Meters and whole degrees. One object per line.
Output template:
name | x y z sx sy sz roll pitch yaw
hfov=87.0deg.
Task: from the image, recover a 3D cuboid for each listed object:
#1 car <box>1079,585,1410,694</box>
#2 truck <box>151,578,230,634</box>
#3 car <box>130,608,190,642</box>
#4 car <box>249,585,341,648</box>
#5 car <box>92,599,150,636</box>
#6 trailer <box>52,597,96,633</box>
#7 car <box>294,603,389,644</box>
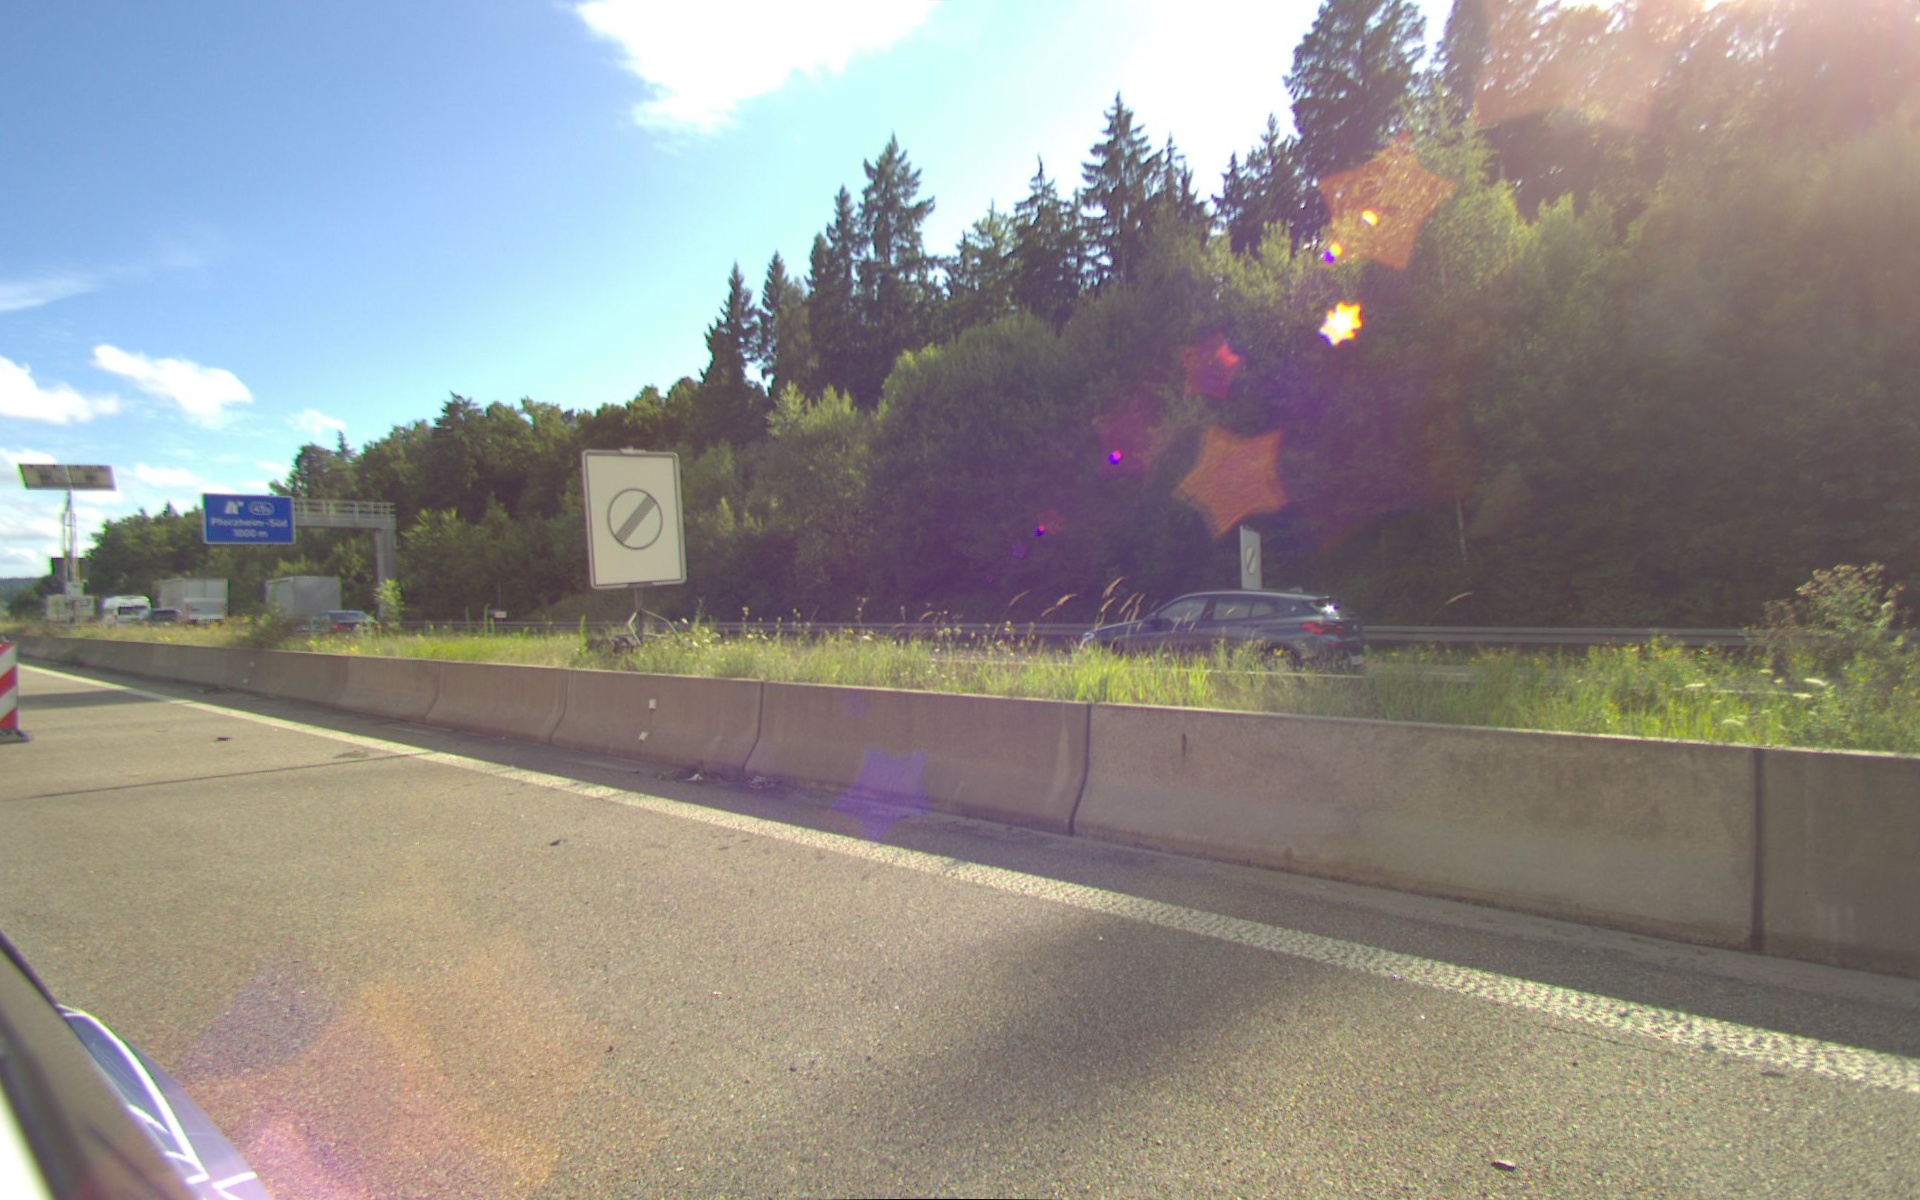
car | 4.079 0.508 14.900 4.286 1.373 1.938 -1 0 41
truck | -57.840 0.498 75.918 10.181 4.022 2.771 -1 -1 41
car | -44.845 1.369 56.704 4.117 1.826 1.924 -1 0 41
car | -38.188 0.899 58.036 7.448 3.395 2.461 -1 0 41
car | -58.711 1.223 70.779 6.329 2.470 2.138 -1 0 41
trailer | -103.080 1.707 117.636 8.484 3.953 2.762 -1 0 41
car | -22.697 0.834 37.083 4.309 1.398 1.760 -1 0 42
